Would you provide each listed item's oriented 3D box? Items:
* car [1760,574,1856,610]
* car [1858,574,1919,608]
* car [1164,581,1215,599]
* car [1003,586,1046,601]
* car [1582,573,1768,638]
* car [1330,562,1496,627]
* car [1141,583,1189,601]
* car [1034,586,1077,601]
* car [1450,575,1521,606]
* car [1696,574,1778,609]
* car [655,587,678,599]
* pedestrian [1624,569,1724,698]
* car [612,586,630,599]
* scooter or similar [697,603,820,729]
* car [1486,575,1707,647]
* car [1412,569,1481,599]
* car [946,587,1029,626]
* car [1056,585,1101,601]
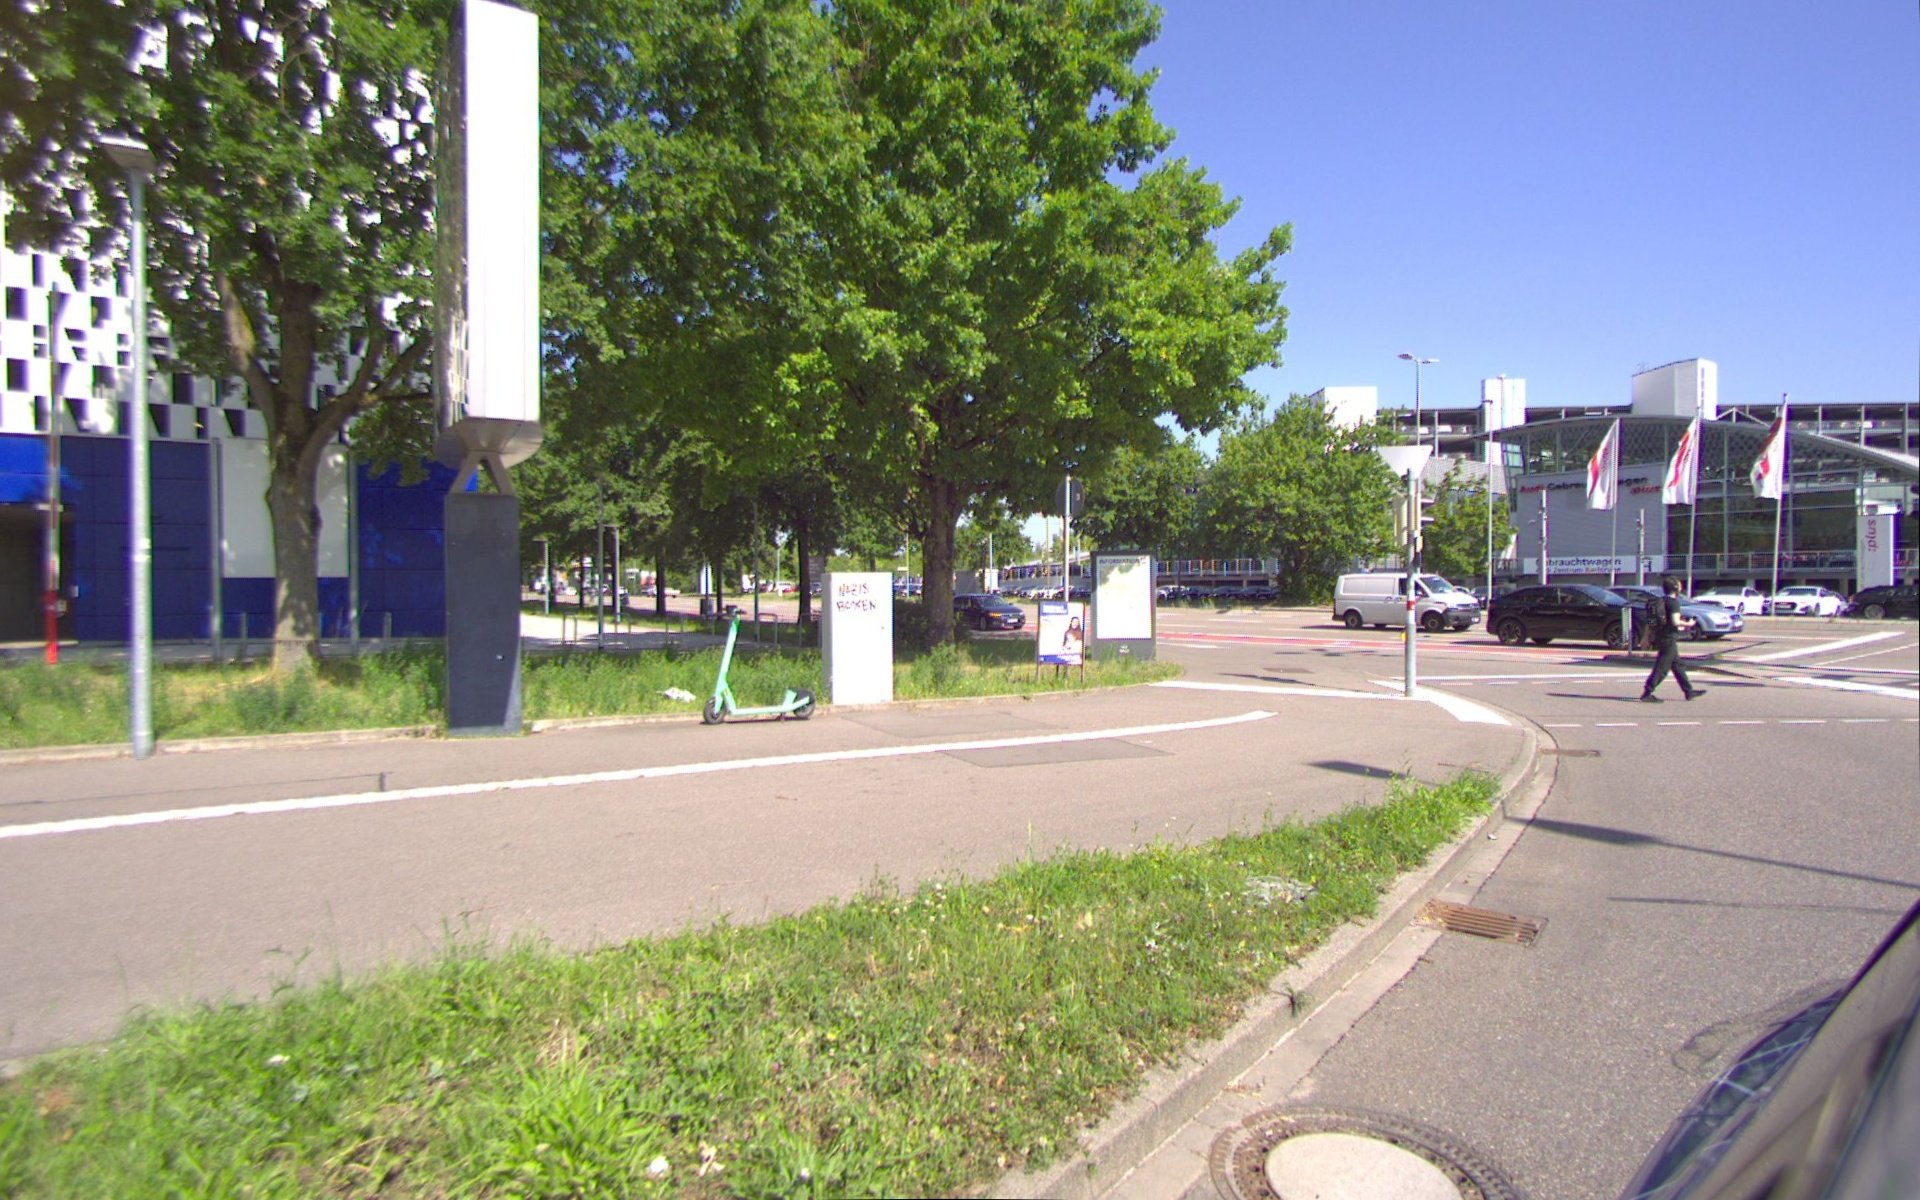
[{"bbox_3d":[35.929,-0.360,42.853,4.034,1.440,2.006,-1,1,-32],"label":"car"},{"bbox_3d":[38.645,-0.359,40.029,1.786,1.367,4.353,-1,1,-33],"label":"car"},{"bbox_3d":[16.571,-0.702,73.058,3.348,1.265,1.598,-1,1,-28],"label":"car"},{"bbox_3d":[5.593,-0.544,87.791,3.348,1.265,1.598,-1,1,-28],"label":"car"},{"bbox_3d":[19.667,0.116,28.021,1.724,1.633,3.837,-2,1,-26],"label":"car"},{"bbox_3d":[15.282,-0.210,34.422,1.707,2.032,5.002,-2,2,-33],"label":"car"},{"bbox_3d":[15.198,-0.614,75.025,3.106,1.341,1.643,-1,1,-28],"label":"car"},{"bbox_3d":[8.137,-0.557,86.053,3.348,1.265,1.598,-1,1,-28],"label":"car"},{"bbox_3d":[28.319,-0.492,54.478,3.814,1.594,1.787,-1,0,-35],"label":"car"},{"bbox_3d":[34.439,-0.378,44.835,3.814,1.489,1.787,-1,1,-35],"label":"car"},{"bbox_3d":[-40.847,-0.980,140.684,2.125,1.696,4.520,-2,1,-28],"label":"car"},{"bbox_3d":[10.252,0.456,14.555,0.940,1.802,0.707,0,1,-7],"label":"pedestrian"},{"bbox_3d":[-54.584,-1.238,163.035,1.960,2.039,4.004,-2,1,-29],"label":"car"},{"bbox_3d":[-2.025,0.640,10.150,1.159,1.181,0.403,-2,1,-15],"label":"scooter or similar"},{"bbox_3d":[16.270,0.276,26.119,1.683,1.648,4.504,-2,0,-33],"label":"car"},{"bbox_3d":[27.076,-0.904,56.321,3.814,1.593,1.787,-1,1,-35],"label":"car"},{"bbox_3d":[1.126,0.229,43.258,1.736,1.482,4.246,-2,2,-27],"label":"car"},{"bbox_3d":[9.775,-0.556,83.429,3.348,1.265,1.598,-1,1,-28],"label":"car"}]
